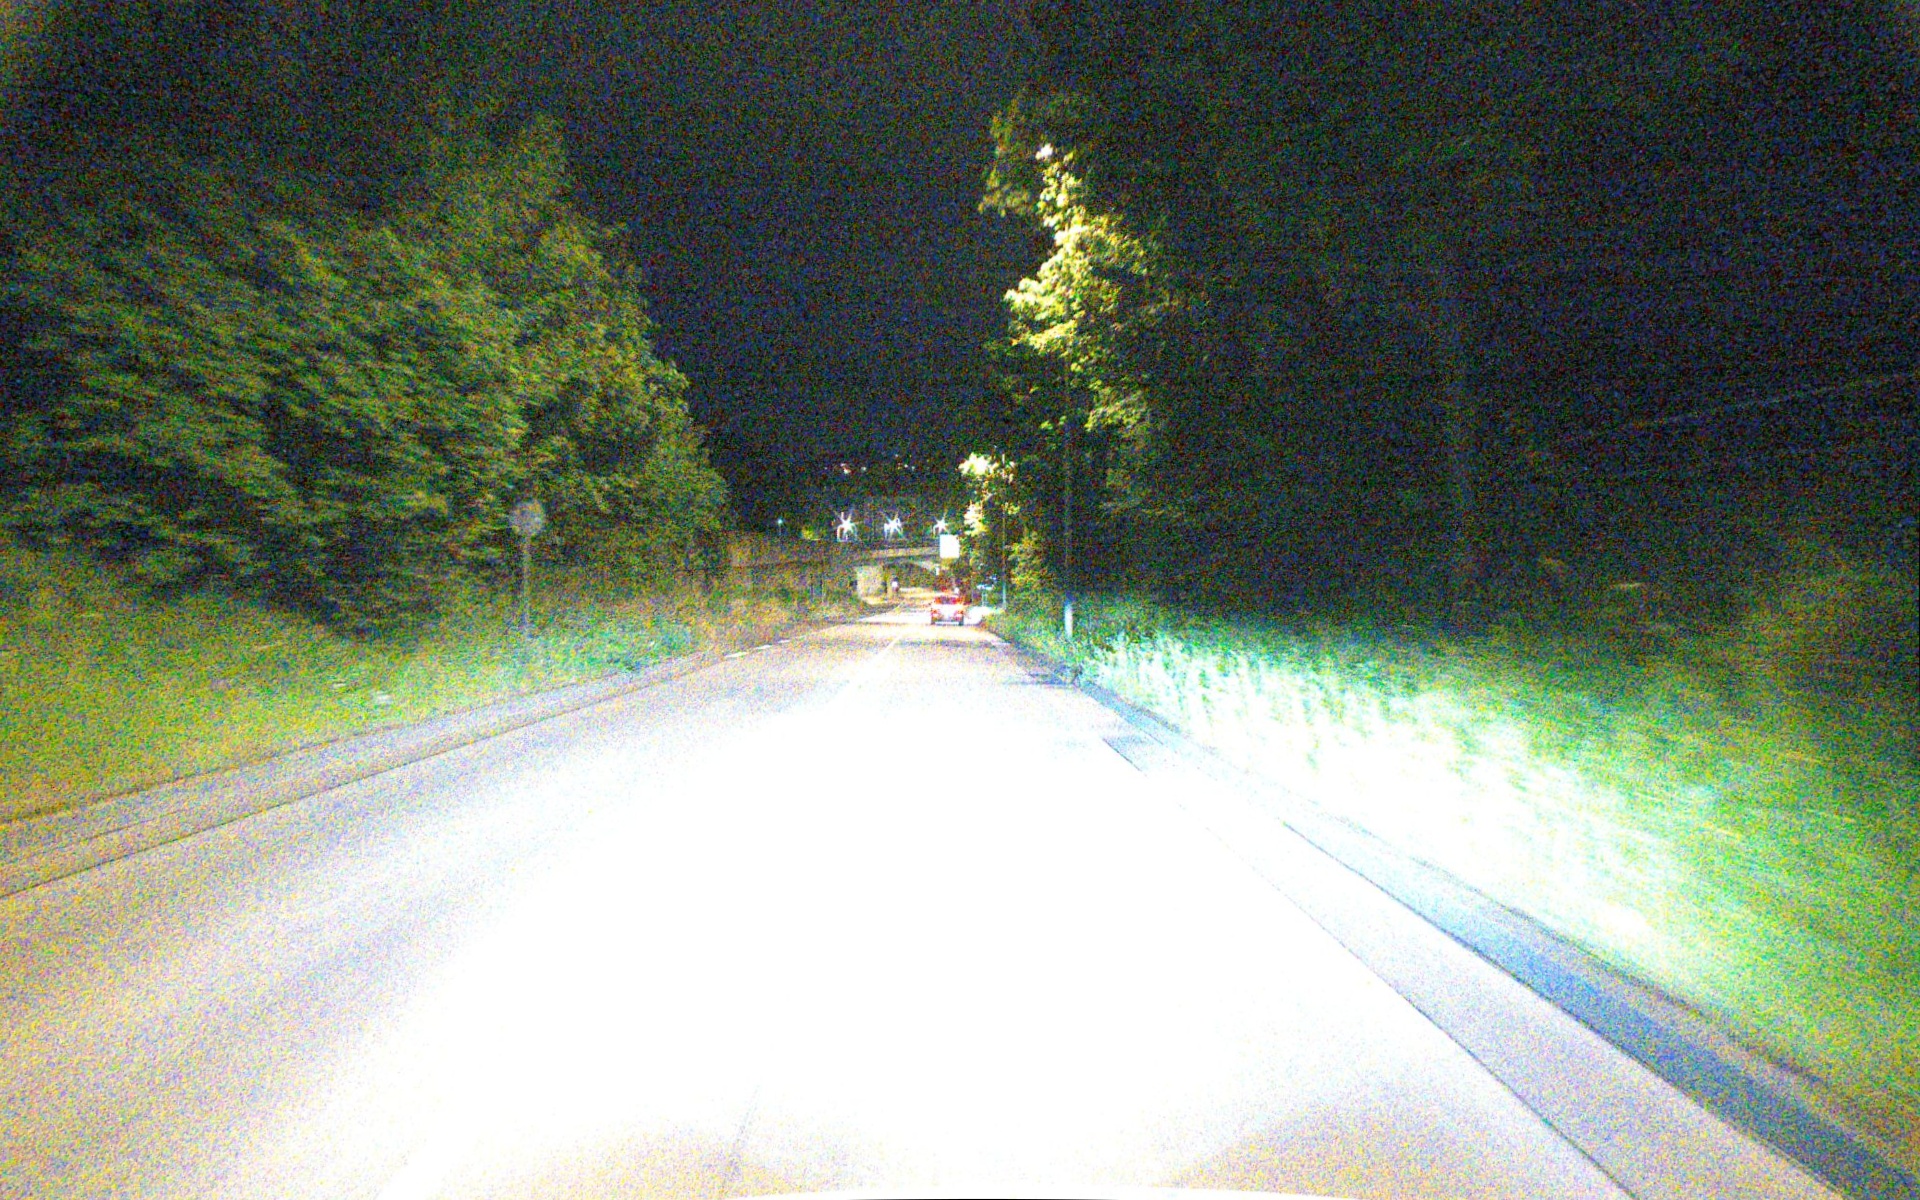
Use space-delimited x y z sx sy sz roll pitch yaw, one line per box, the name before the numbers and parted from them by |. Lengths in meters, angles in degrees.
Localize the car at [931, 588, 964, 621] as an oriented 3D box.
car | -0.680 0.219 89.633 1.727 1.670 3.723 0 1 0
